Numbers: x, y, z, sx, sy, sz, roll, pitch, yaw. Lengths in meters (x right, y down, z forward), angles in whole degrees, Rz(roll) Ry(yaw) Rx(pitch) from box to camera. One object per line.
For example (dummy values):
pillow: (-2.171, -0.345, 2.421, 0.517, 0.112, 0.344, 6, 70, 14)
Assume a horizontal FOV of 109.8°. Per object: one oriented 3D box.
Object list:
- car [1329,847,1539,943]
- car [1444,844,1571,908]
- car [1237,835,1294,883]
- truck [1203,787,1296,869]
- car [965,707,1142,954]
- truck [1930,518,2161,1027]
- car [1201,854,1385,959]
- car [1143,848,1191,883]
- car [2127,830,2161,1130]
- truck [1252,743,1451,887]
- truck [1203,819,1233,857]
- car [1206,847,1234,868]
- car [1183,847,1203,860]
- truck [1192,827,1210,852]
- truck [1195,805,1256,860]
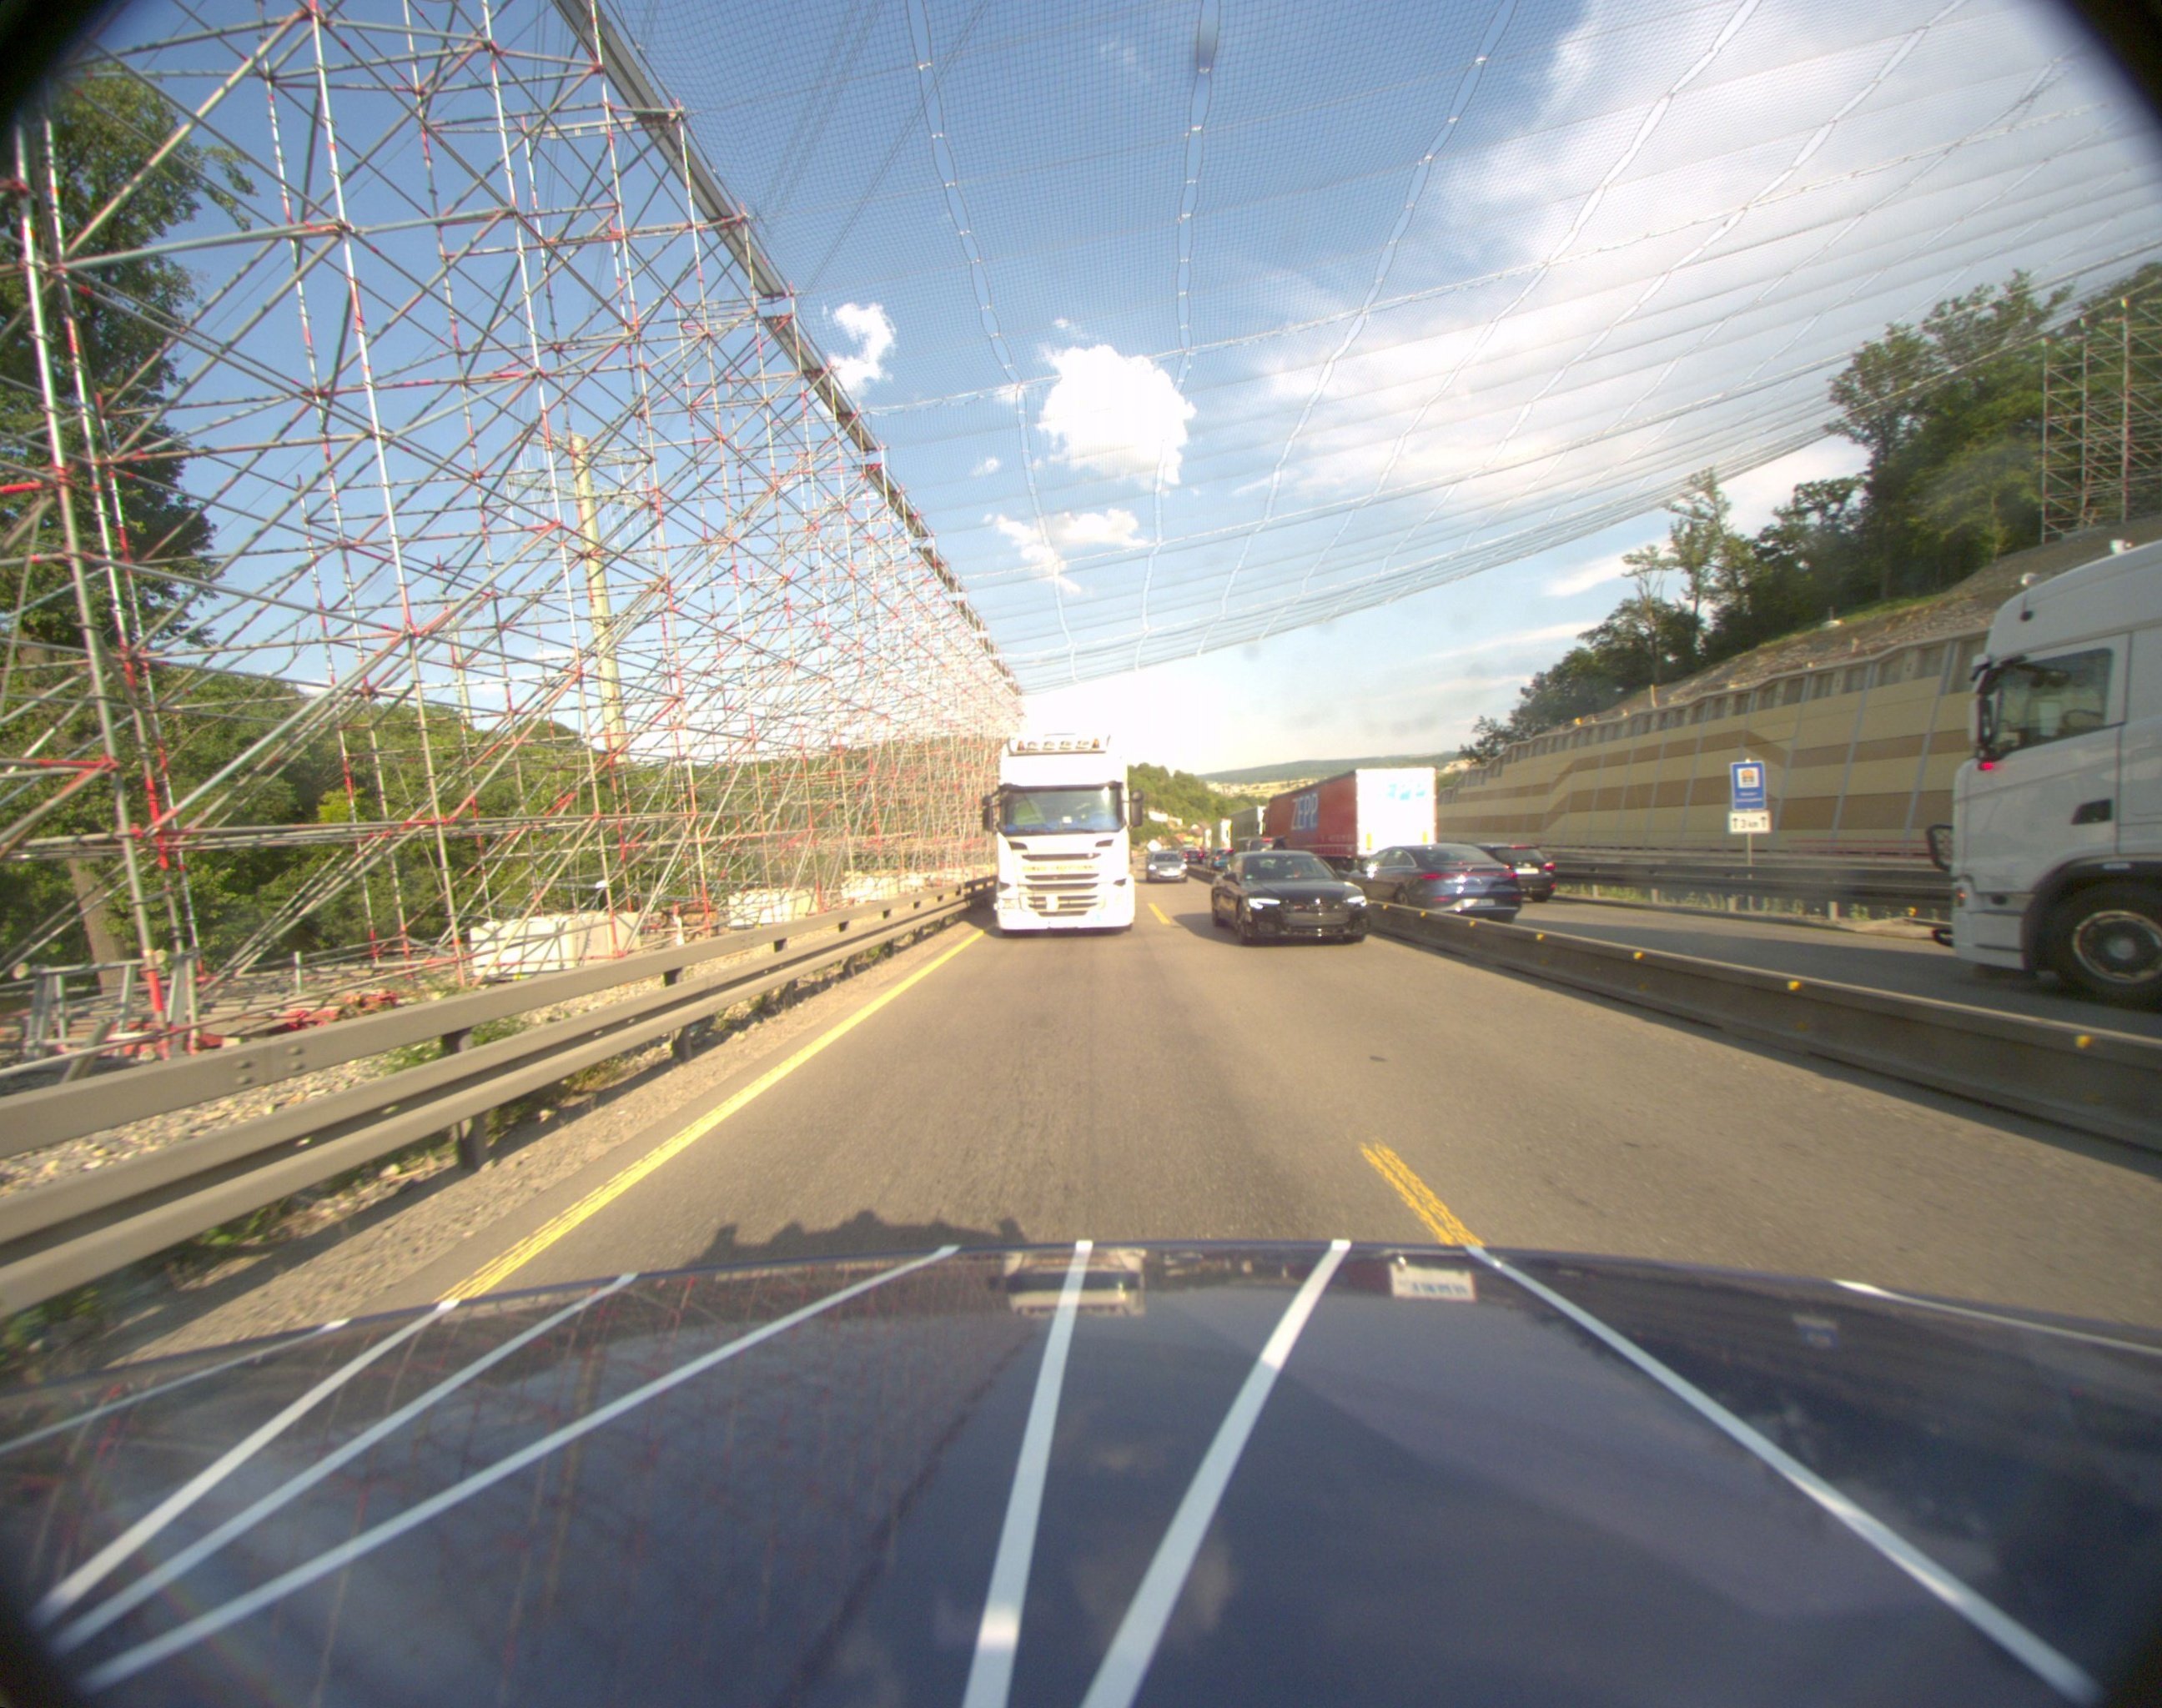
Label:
car: (6.606, 0.651, 14.957, 1.939, 1.510, 4.978, -2, 1, 2)
car: (10.513, 0.492, 18.977, 1.371, 1.407, 3.293, -2, 1, 2)
car: (7.483, 0.171, 31.069, 1.726, 1.816, 3.293, -2, 1, 4)
truck: (11.003, -1.583, 52.021, 2.994, 4.532, 17.407, -2, 1, 2)
car: (-0.369, -0.440, 17.075, 2.858, 4.092, 8.280, -2, 1, 1)
truck: (9.527, -0.640, 4.355, 2.522, 3.885, 6.047, -2, 1, 0)
car: (3.391, 0.743, 13.226, 1.939, 1.390, 4.961, -3, 0, 2)
car: (3.922, 0.496, 35.374, 1.760, 1.464, 4.352, -2, 1, 1)
car: (6.471, 0.634, 1.668, 1.939, 1.525, 4.644, -2, 1, 0)
truck: (10.711, -1.363, 33.311, 2.994, 4.532, 17.407, -2, 1, 2)
truck: (18.694, -2.160, 104.543, 3.167, 4.817, 14.363, -2, 1, 7)
car: (7.796, 0.185, 42.714, 1.166, 1.107, 2.727, -2, 1, 2)
car: (10.785, -0.080, 73.226, 1.403, 1.227, 3.292, -2, 1, 0)
truck: (24.422, -2.944, 155.029, 3.167, 4.817, 14.363, -2, 1, 7)
truck: (13.555, -1.917, 73.197, 2.994, 4.532, 17.407, -2, 1, 2)
